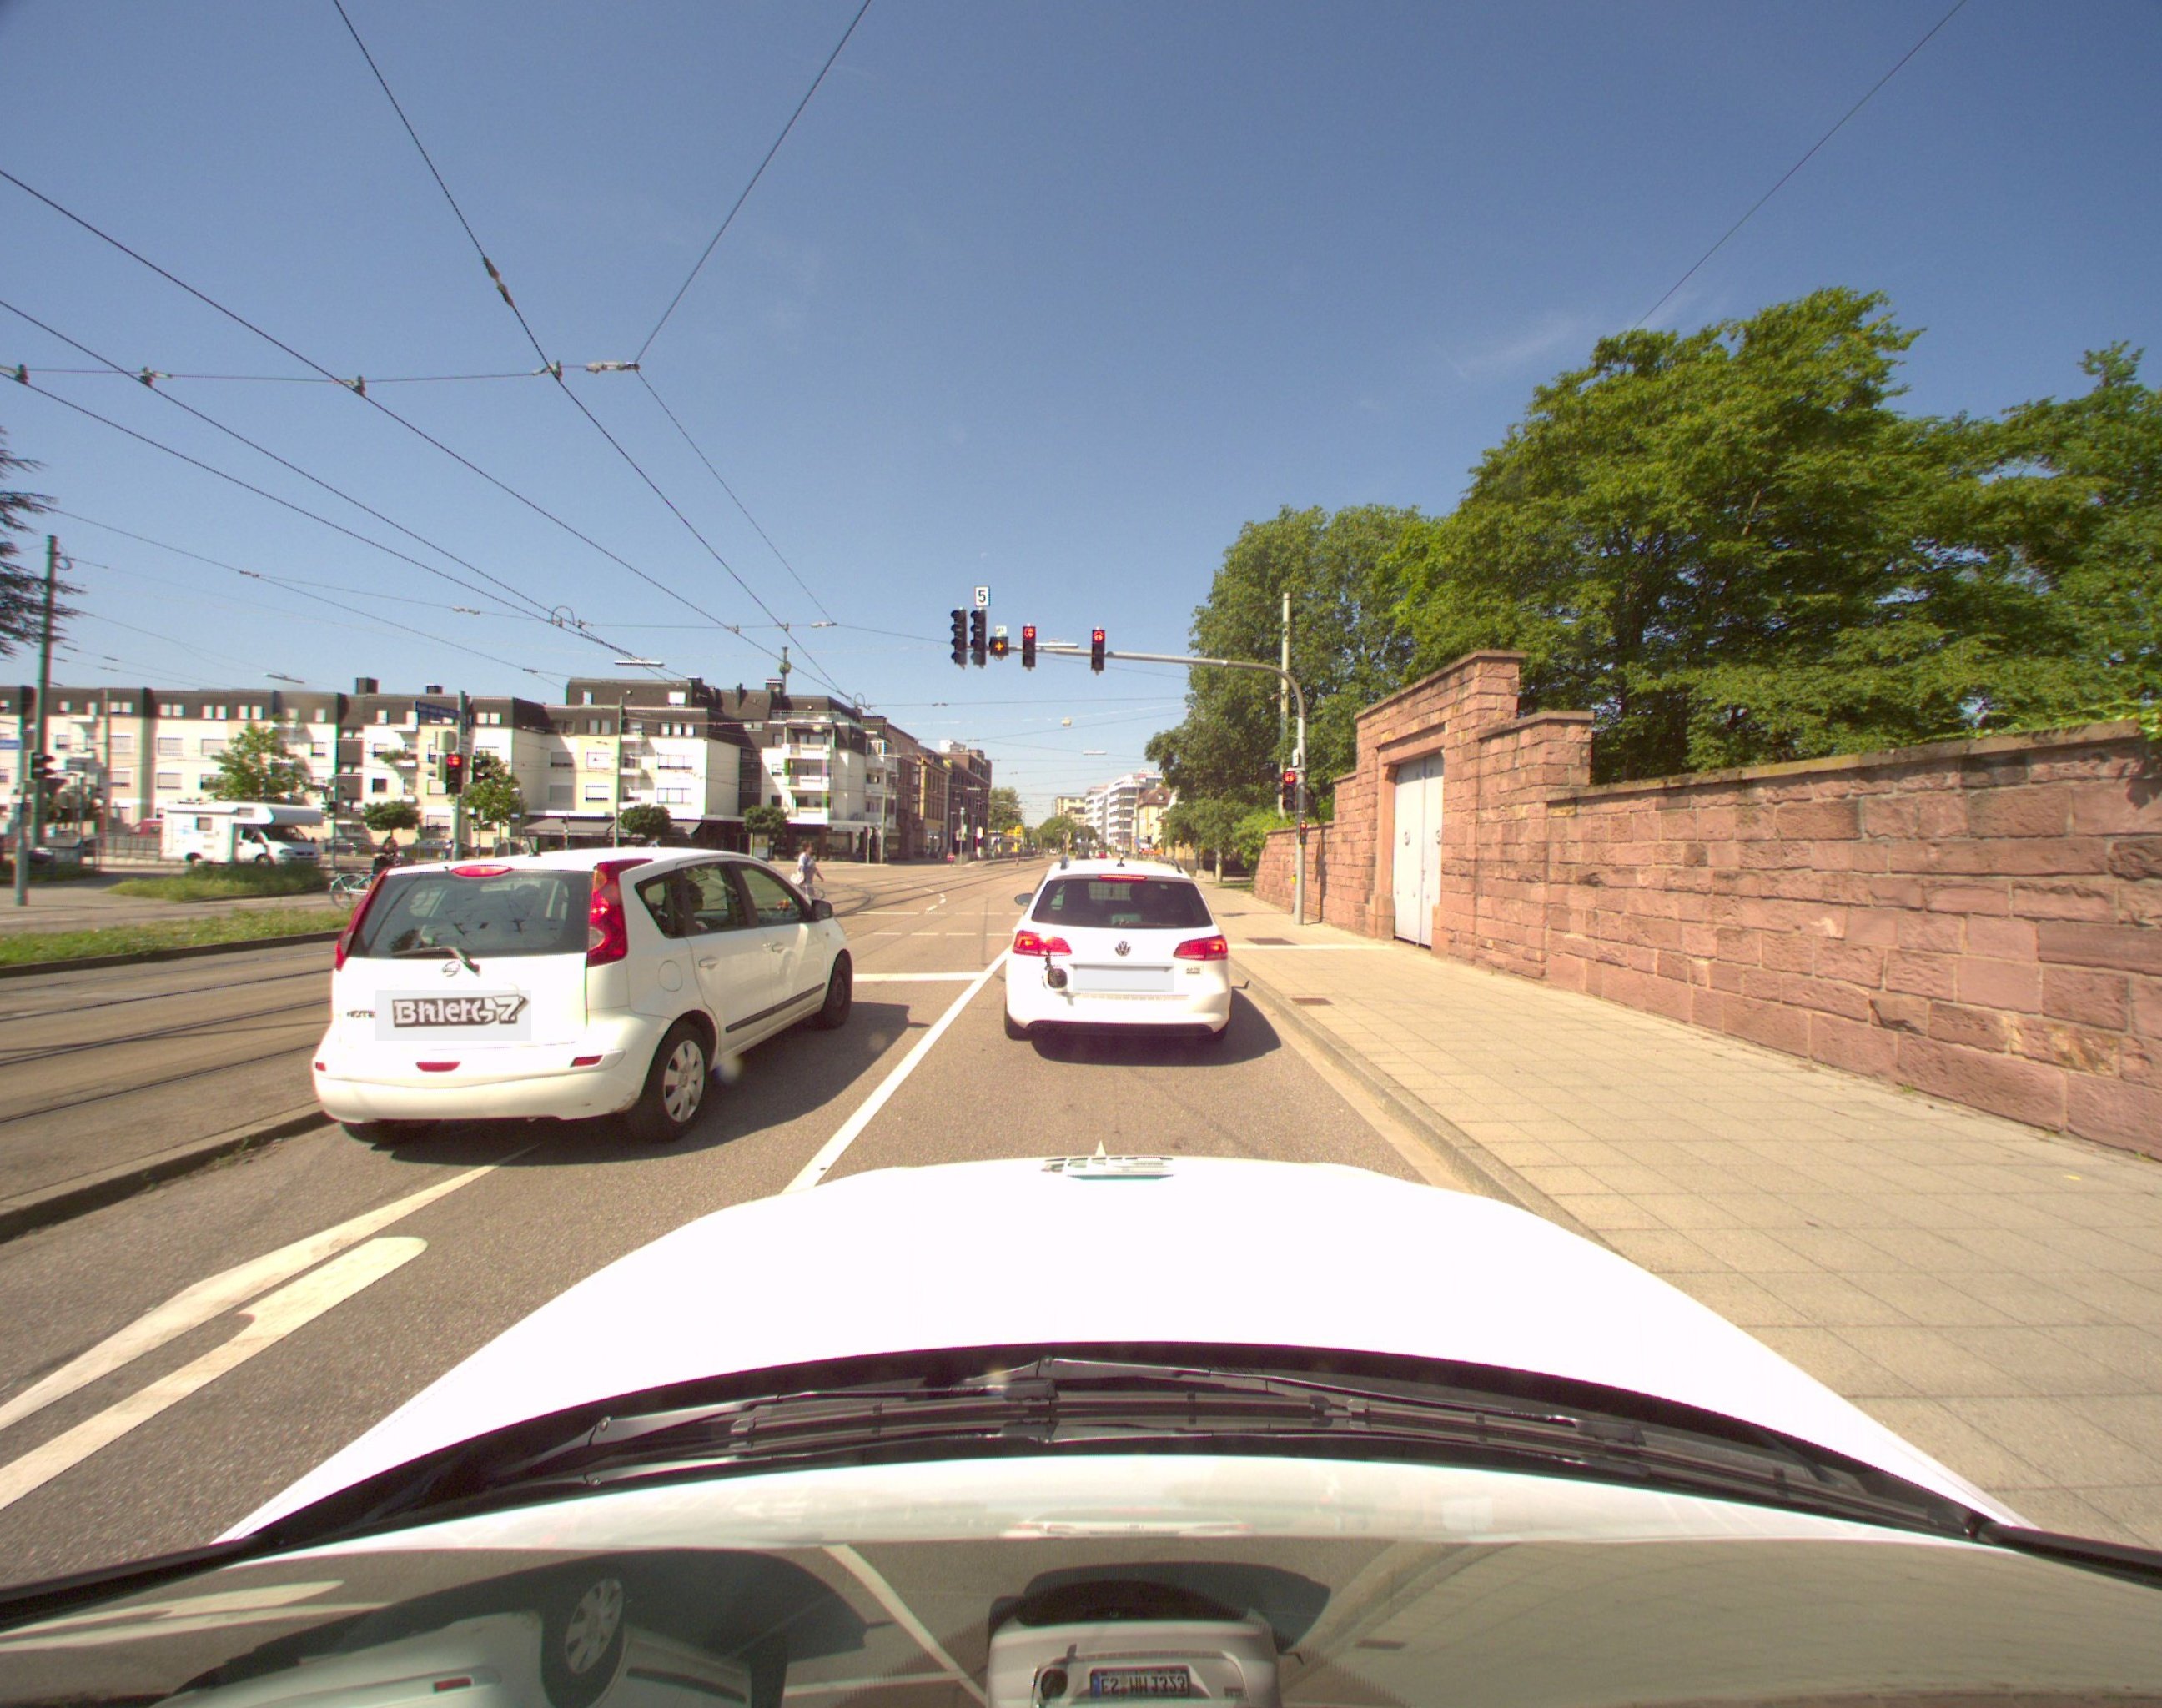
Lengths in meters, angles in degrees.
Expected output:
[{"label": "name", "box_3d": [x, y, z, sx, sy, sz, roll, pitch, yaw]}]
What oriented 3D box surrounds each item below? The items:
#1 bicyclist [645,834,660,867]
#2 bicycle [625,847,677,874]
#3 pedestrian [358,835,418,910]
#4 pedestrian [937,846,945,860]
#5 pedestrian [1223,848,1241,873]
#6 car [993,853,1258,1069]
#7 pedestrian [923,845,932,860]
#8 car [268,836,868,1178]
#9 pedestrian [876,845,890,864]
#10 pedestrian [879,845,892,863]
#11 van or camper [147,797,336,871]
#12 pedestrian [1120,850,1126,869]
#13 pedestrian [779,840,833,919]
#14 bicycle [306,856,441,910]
[{"label": "bicyclist", "box_3d": [-21.162, -0.172, 40.188, 0.640, 1.612, 0.557, 0, -1, -31]}, {"label": "bicycle", "box_3d": [-21.197, 0.296, 40.158, 2.256, 1.297, 0.554, 0, -1, -31]}, {"label": "pedestrian", "box_3d": [-15.027, 0.385, 17.673, 0.746, 1.571, 0.672, 0, 1, -13]}, {"label": "pedestrian", "box_3d": [-17.042, -0.103, 98.873, 0.860, 1.743, 0.973, -1, -1, -4]}, {"label": "pedestrian", "box_3d": [10.667, 0.468, 57.594, 0.865, 1.743, 0.967, 0, -1, -23]}, {"label": "car", "box_3d": [0.358, 0.728, 7.541, 1.801, 1.448, 4.001, 0, 0, 2]}, {"label": "pedestrian", "box_3d": [-17.471, -0.181, 92.963, 0.860, 1.743, 0.973, -1, -1, -4]}, {"label": "car", "box_3d": [-2.850, 0.673, 5.641, 1.636, 1.566, 3.805, -1, 1, 2]}, {"label": "pedestrian", "box_3d": [-18.117, 0.055, 74.571, 0.853, 1.743, 0.981, -2, -1, 39]}, {"label": "pedestrian", "box_3d": [-18.472, 0.010, 77.083, 0.856, 1.743, 0.978, -1, -1, 12]}, {"label": "van or camper", "box_3d": [-37.214, -0.829, 36.241, 5.664, 3.093, 2.575, -1, -1, 0]}, {"label": "pedestrian", "box_3d": [5.267, 0.642, 101.676, 0.687, 2.325, 1.233, -1, -1, 3]}, {"label": "pedestrian", "box_3d": [-5.966, 0.536, 17.731, 0.972, 1.651, 0.952, 0, -1, -11]}, {"label": "bicycle", "box_3d": [-14.829, 0.603, 17.131, 2.021, 1.090, 0.707, 1, 0, -13]}]
